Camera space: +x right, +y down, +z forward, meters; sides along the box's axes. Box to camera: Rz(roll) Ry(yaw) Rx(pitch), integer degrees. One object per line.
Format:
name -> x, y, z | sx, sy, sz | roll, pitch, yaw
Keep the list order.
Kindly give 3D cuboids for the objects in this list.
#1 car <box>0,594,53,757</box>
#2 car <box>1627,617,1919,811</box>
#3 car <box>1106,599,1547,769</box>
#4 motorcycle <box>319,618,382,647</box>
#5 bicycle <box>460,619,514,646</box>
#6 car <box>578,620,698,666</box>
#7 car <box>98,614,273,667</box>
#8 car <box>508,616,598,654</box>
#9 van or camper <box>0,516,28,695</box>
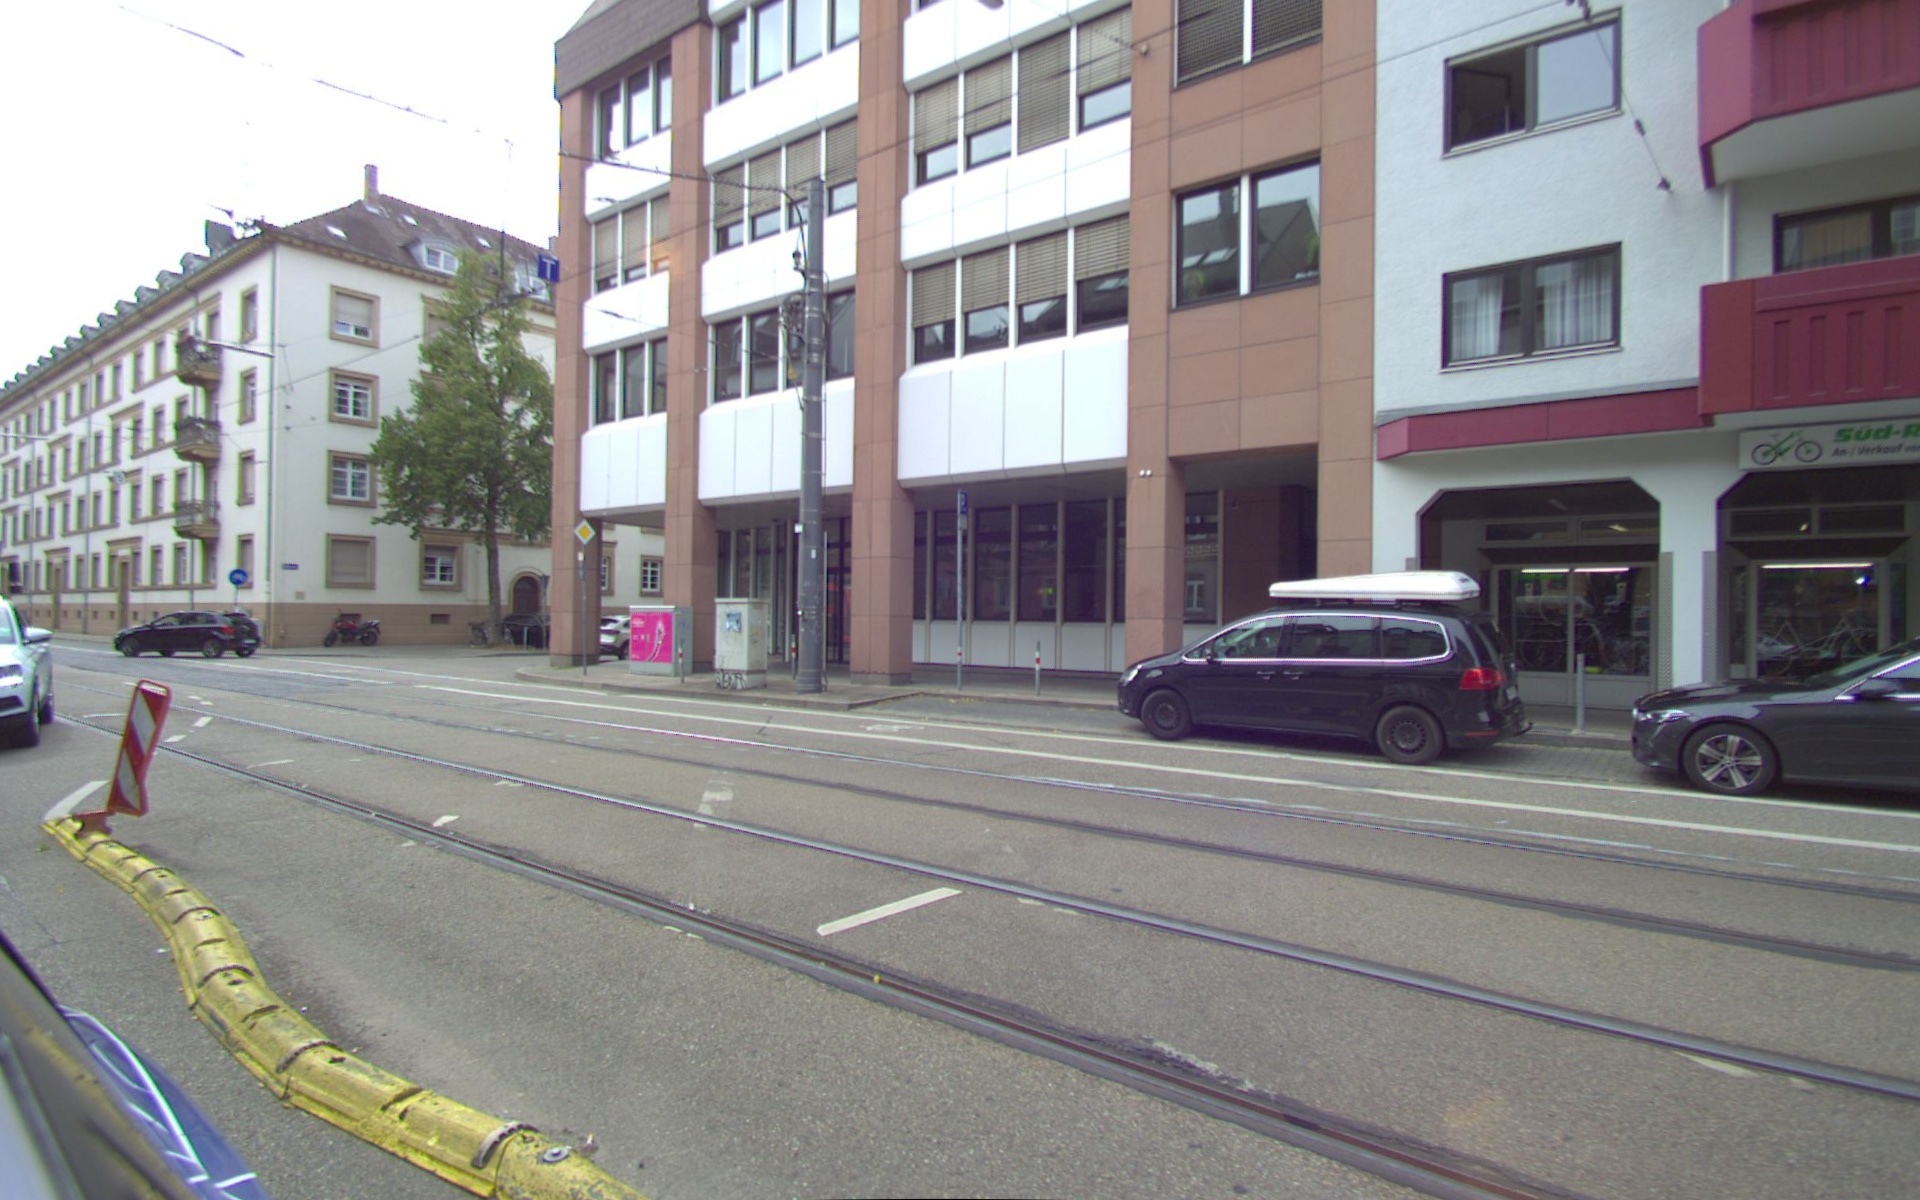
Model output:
car -> -11.300, 0.756, 11.191 | 1.747, 1.603, 4.289 | 0, 0, -40
car -> 8.500, 0.928, 8.508 | 4.693, 1.491, 1.737 | 0, 0, 39
car -> 4.257, 0.846, 12.237 | 4.693, 1.659, 1.789 | 0, 0, 39
motorcycle -> -23.399, 1.237, 38.888 | 0.792, 1.094, 1.900 | -1, -2, 39
bicycle -> -20.157, 1.377, 43.156 | 0.792, 1.094, 1.900 | -1, -2, 39
car -> -10.411, 1.365, 32.940 | 1.606, 1.399, 3.612 | 0, -2, 30
car -> -24.053, 1.244, 31.558 | 3.985, 1.549, 1.777 | 0, 0, -7
car -> -16.325, 1.377, 40.493 | 3.869, 1.407, 1.592 | 0, -2, 38
van or camper -> -22.740, 0.113, 21.730 | 9.641, 3.447, 2.575 | 0, -1, 39
